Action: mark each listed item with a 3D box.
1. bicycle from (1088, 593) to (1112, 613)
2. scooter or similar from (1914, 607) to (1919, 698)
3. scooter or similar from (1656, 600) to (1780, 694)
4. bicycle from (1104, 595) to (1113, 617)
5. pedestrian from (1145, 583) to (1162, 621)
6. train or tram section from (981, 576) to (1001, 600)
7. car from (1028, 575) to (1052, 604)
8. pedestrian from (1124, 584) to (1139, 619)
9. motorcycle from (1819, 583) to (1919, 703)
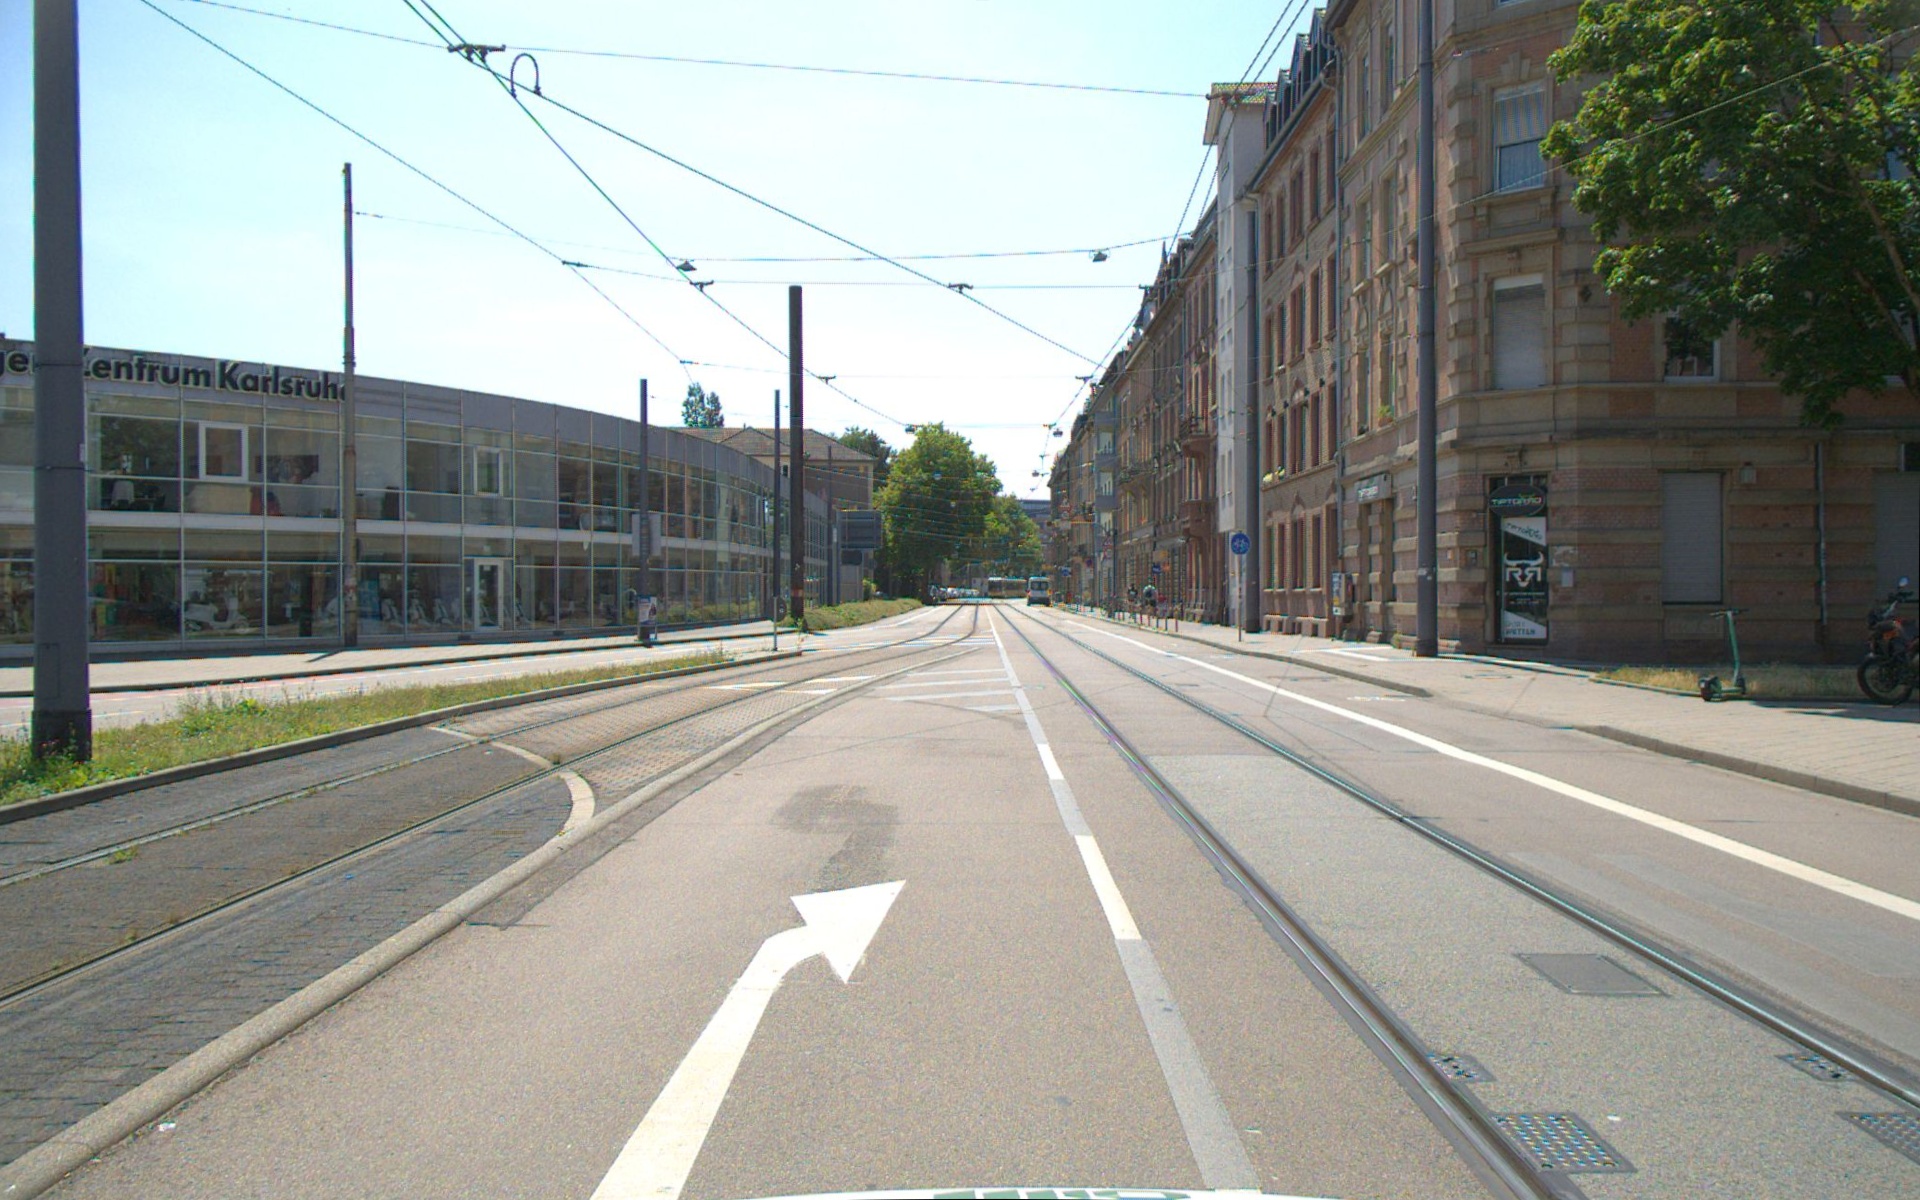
[{"bbox_3d":[8.049,0.168,95.231,0.489,1.150,2.239,-1,0,29],"label":"bicycle"},{"bbox_3d":[12.661,0.660,20.622,0.589,1.172,1.377,0,-1,-9],"label":"scooter or similar"},{"bbox_3d":[9.840,0.589,21.473,1.503,1.175,0.709,0,0,-28],"label":"scooter or similar"},{"bbox_3d":[7.883,0.296,87.701,0.438,1.116,2.424,-1,0,6],"label":"bicycle"},{"bbox_3d":[9.842,0.095,84.230,0.688,1.881,0.644,-4,0,2],"label":"pedestrian"},{"bbox_3d":[4.820,-1.798,256.499,2.900,3.643,13.423,0,0,0],"label":"train or tram section"},{"bbox_3d":[7.157,-0.958,148.779,2.024,2.544,5.455,1,0,2],"label":"car"},{"bbox_3d":[8.742,0.066,84.454,0.705,1.750,0.644,-1,0,2],"label":"pedestrian"},{"bbox_3d":[11.485,0.497,20.136,0.748,1.386,2.596,0,0,2],"label":"motorcycle"}]
